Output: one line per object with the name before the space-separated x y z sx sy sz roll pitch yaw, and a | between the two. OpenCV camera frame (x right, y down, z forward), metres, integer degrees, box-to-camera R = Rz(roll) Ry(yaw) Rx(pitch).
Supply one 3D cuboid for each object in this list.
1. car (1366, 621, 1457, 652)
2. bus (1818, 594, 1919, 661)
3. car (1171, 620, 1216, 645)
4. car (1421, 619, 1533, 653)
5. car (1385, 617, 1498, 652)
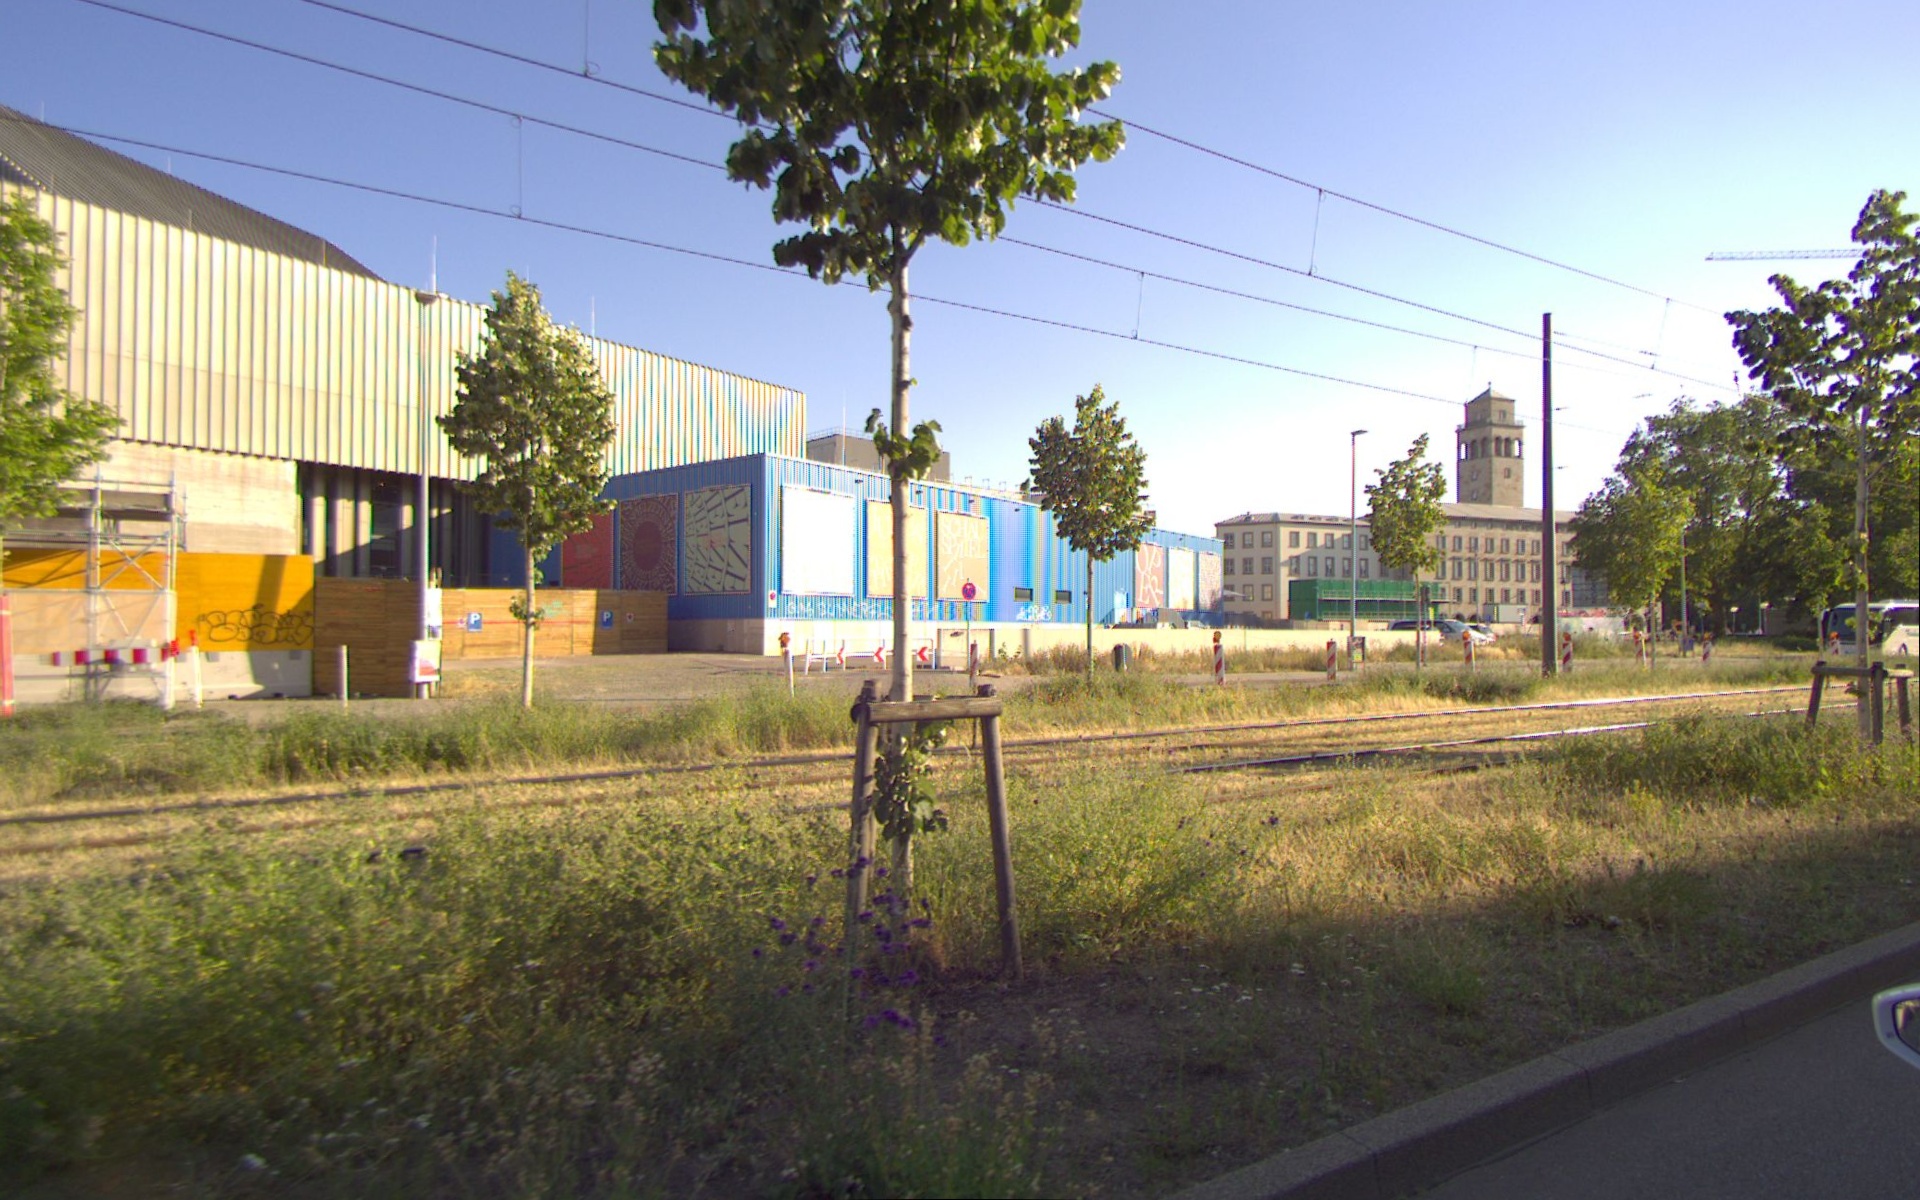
car | 23.320 1.865 52.020 1.975 1.504 3.972 1 -1 -27
bus | 55.286 1.628 59.065 12.532 3.642 2.789 1 -1 -27
car | 16.112 2.225 69.136 1.390 1.657 4.207 0 -1 38
car | 27.856 1.895 54.330 2.098 1.739 5.207 1 -1 -27
car | 25.379 1.793 53.155 2.098 1.739 5.207 1 -1 -27
